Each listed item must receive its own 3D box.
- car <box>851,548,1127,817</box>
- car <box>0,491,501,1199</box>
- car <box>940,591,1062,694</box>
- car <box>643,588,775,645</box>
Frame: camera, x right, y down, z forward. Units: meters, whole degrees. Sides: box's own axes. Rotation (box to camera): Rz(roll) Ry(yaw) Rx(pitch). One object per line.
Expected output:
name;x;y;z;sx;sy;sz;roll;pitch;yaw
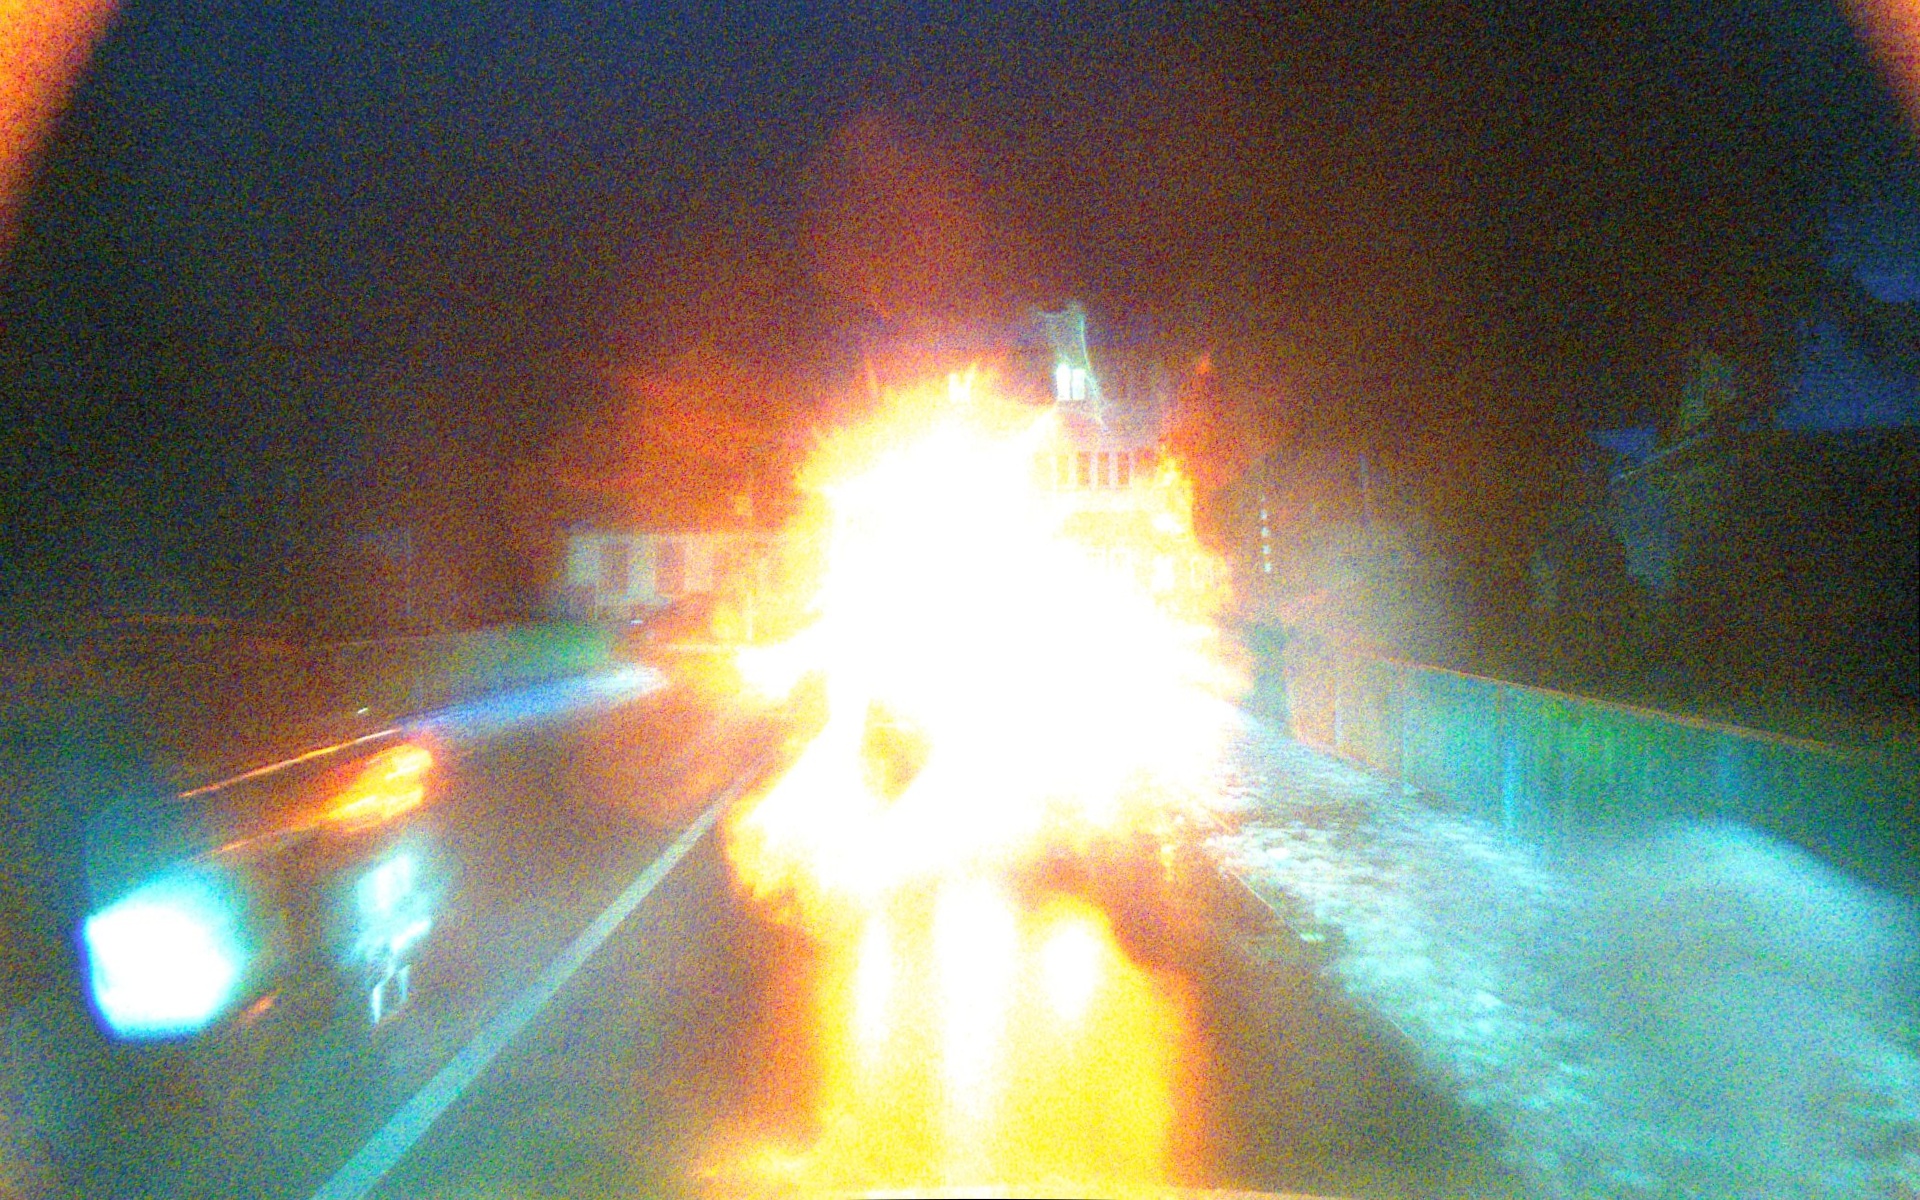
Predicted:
car;0.225;0.505;12.550;1.754;1.710;3.905;0;1;1
car;-2.704;0.653;4.006;1.836;1.572;4.355;-4;-1;0
car;0.691;0.590;25.268;1.707;1.440;4.002;-1;0;3
car;-8.763;0.591;57.968;4.110;1.831;2.001;2;-1;8
